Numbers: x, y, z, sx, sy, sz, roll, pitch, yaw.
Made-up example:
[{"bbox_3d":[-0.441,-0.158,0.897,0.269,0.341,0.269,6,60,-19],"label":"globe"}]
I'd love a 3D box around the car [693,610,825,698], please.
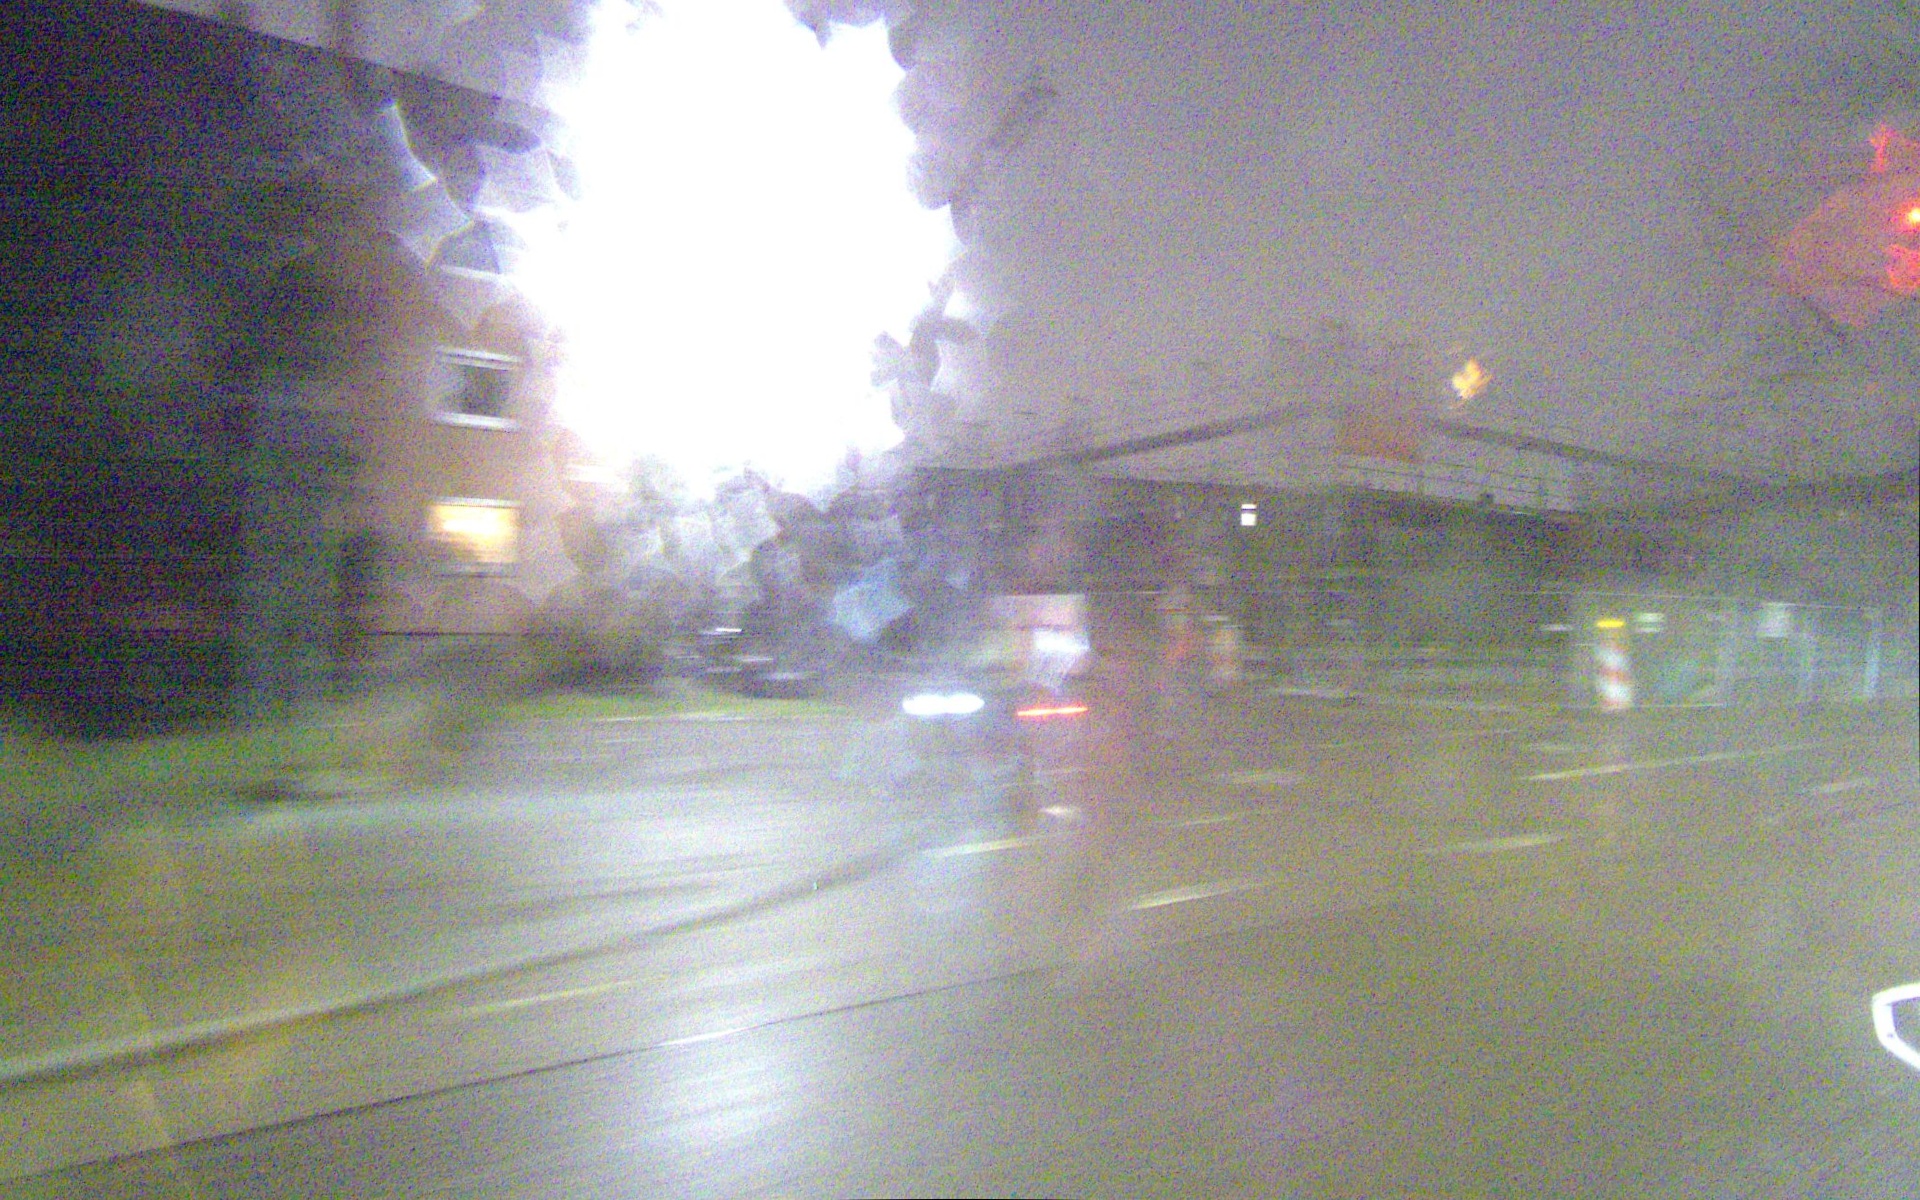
[{"bbox_3d":[-3.924,0.978,19.107,1.474,1.388,4.065,6,-3,-24],"label":"car"}]

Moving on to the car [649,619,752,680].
[{"bbox_3d":[-6.344,1.162,24.287,1.476,1.275,3.839,5,-3,-28],"label":"car"}]

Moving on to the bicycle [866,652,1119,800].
[{"bbox_3d":[0.337,1.117,9.159,2.287,1.176,0.627,4,0,-31],"label":"bicycle"}]

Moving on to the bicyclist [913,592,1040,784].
[{"bbox_3d":[0.144,0.746,9.046,0.949,1.616,0.633,0,2,-31],"label":"bicyclist"}]
